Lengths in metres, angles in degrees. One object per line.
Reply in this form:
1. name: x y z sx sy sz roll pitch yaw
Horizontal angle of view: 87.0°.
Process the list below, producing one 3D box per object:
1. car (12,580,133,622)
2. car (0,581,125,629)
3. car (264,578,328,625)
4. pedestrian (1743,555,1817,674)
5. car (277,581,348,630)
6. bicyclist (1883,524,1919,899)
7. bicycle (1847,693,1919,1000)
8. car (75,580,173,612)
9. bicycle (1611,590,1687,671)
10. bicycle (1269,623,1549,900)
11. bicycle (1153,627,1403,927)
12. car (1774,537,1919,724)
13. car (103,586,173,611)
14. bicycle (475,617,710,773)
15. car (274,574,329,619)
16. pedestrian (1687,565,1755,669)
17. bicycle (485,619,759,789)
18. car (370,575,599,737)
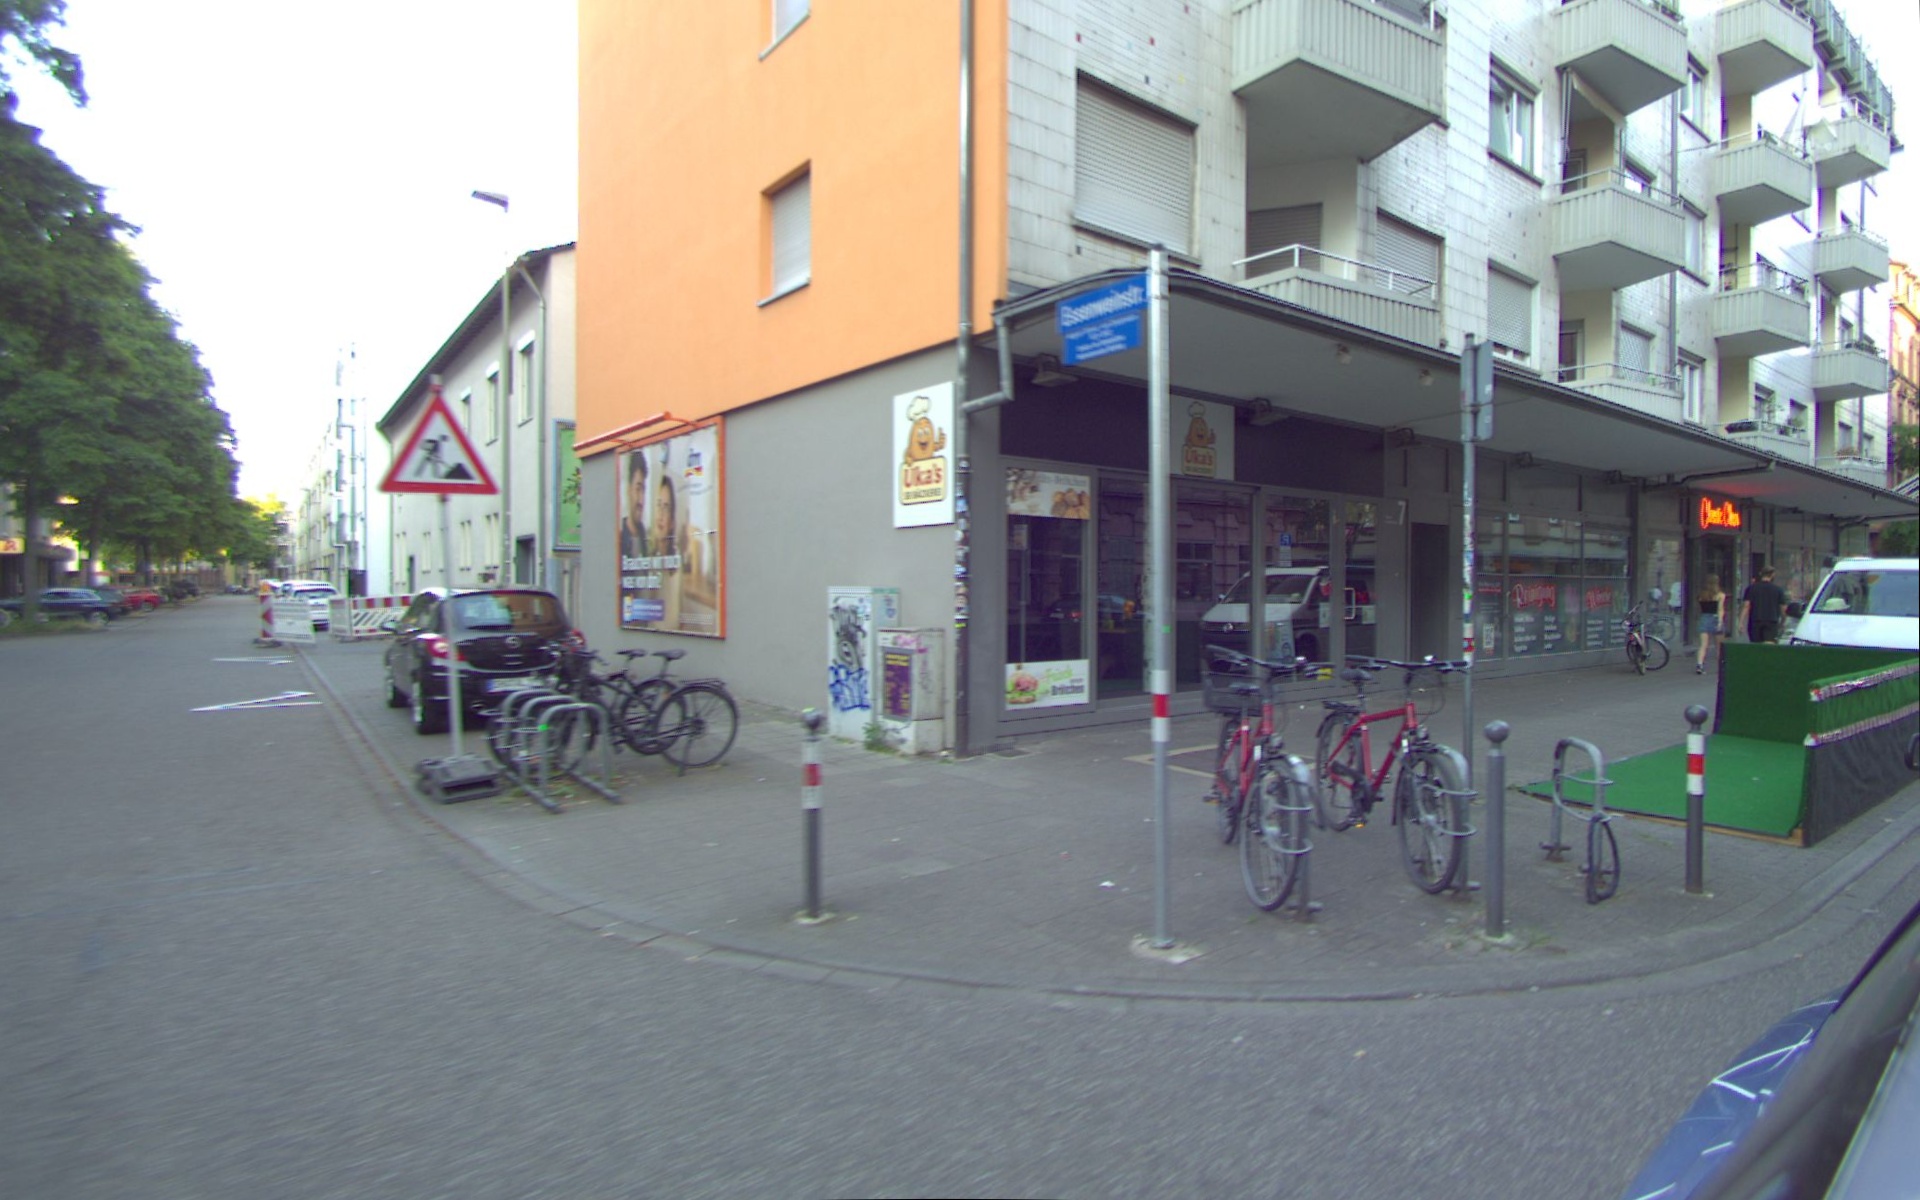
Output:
1. car: -39.059 0.003 44.657 3.931 1.705 1.944 -2 1 -41
2. car: -35.288 0.153 39.424 1.936 1.705 3.947 0 1 38
3. car: -24.478 0.019 37.308 1.840 1.615 3.754 -2 1 -34
4. pedestrian: 13.138 0.203 16.222 0.845 1.850 0.710 -2 3 -38
5. car: -20.795 0.146 32.450 1.776 1.437 4.133 -2 1 -34
6. bicyclist: 4.408 0.442 4.212 0.935 1.527 0.650 -2 1 -36
7. bicycle: 4.398 0.946 4.212 1.882 1.031 0.658 -2 1 -36
8. car: -48.117 -0.262 58.336 1.932 1.705 3.954 0 1 33
9. bicycle: 11.589 0.474 16.998 0.908 1.210 1.688 3 4 38
10. bicycle: 2.406 0.785 5.731 0.644 1.148 1.946 1 3 -1
11. bicycle: 1.568 0.799 5.379 0.644 1.148 1.946 1 3 -1
12. car: 12.103 0.306 12.574 4.911 1.998 1.964 0 3 -38
13. car: -60.287 -0.132 74.273 3.931 1.705 1.944 -2 1 -41
14. bicycle: -3.001 0.729 8.349 1.723 1.080 0.565 -2 3 -33
15. car: -27.058 -0.161 41.640 1.809 1.758 3.748 -2 1 -32
16. pedestrian: 12.763 0.263 16.980 0.731 1.686 0.710 -2 3 -38
17. bicycle: -2.576 0.742 7.838 1.926 1.080 0.565 -2 3 -33
18. car: -5.509 0.480 11.497 1.674 1.494 3.679 -2 2 -36
